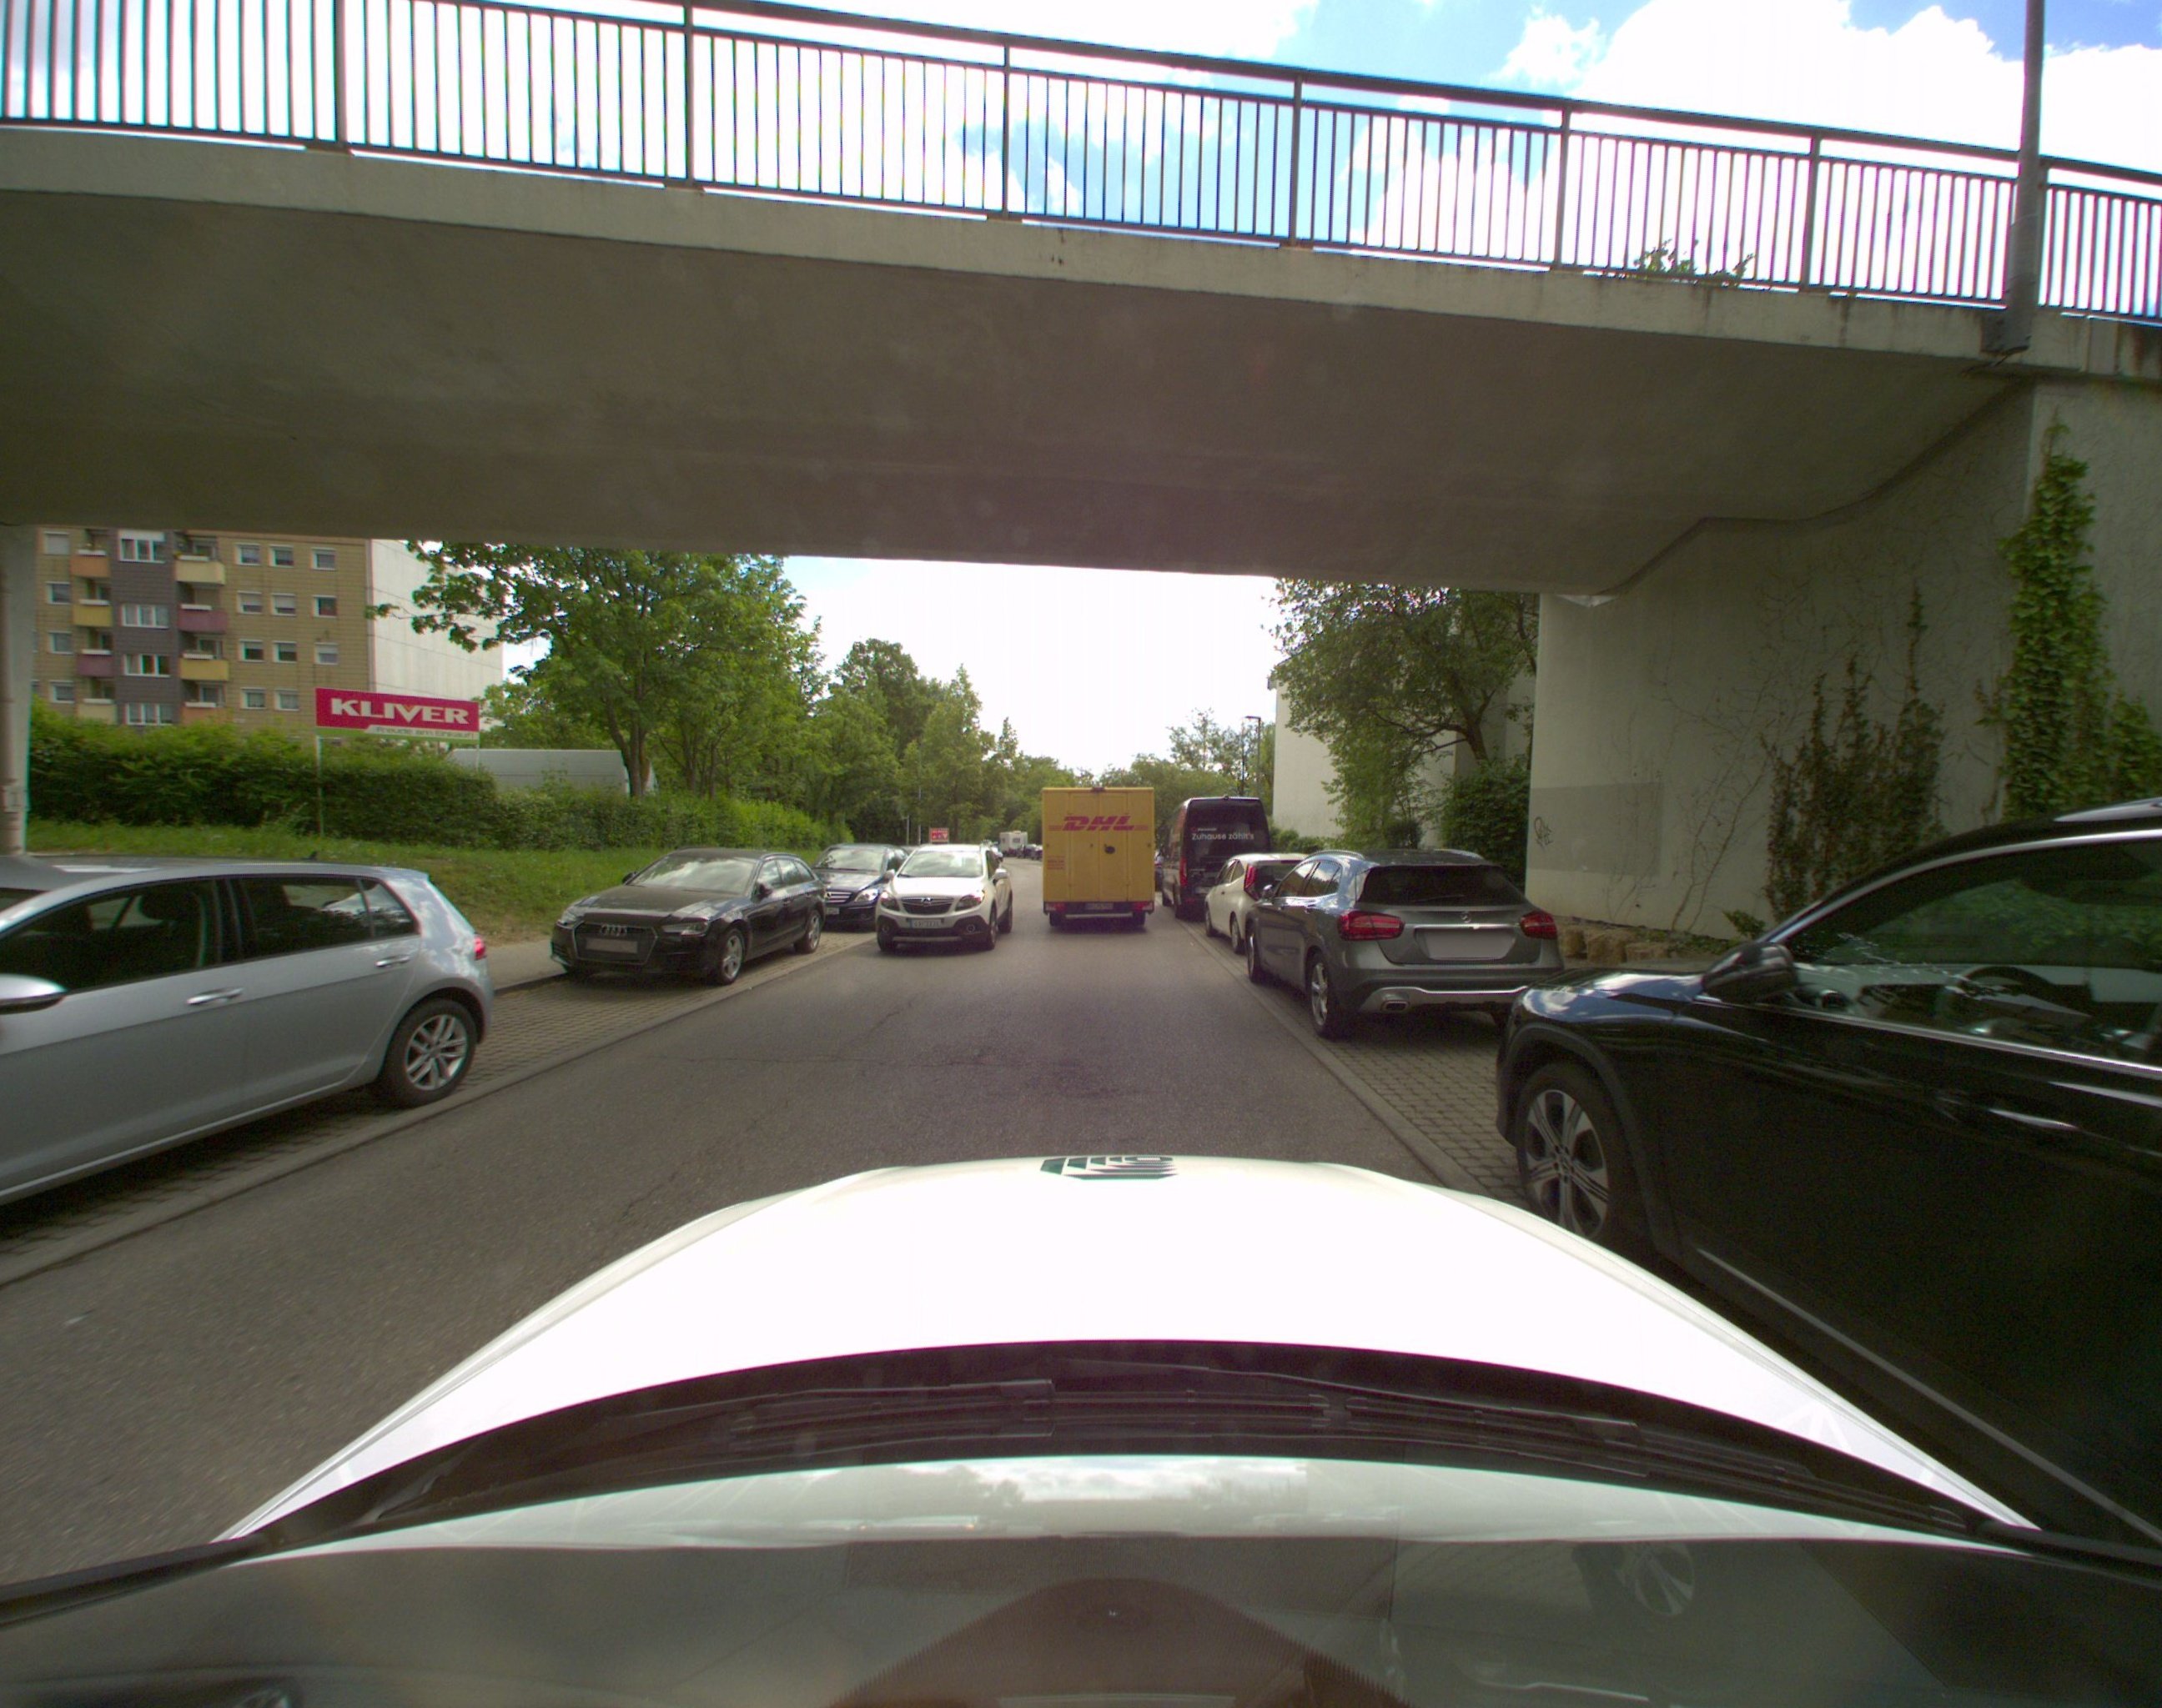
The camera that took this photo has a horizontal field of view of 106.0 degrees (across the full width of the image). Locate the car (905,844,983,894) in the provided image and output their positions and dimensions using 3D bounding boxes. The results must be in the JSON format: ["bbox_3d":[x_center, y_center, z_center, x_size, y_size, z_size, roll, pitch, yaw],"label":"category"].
[{"bbox_3d":[-4.260,0.412,25.838,1.668,1.436,3.971,2,1,1],"label":"car"}]

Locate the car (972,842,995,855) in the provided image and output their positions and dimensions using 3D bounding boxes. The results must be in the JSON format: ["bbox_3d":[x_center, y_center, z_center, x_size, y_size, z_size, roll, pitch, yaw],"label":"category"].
[{"bbox_3d":[-12.949,-0.761,107.659,1.852,1.529,3.969,1,2,-24],"label":"car"}]

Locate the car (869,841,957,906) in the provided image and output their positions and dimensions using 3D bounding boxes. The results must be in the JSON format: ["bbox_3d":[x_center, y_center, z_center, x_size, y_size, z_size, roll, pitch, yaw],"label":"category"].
[{"bbox_3d":[-4.206,0.447,20.716,1.522,1.506,2.715,2,1,2],"label":"car"}]

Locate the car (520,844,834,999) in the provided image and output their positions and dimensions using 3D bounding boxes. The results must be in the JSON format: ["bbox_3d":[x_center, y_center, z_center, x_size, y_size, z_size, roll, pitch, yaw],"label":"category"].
[{"bbox_3d":[-4.707,0.659,10.370,1.880,1.509,4.449,1,1,-2],"label":"car"}]

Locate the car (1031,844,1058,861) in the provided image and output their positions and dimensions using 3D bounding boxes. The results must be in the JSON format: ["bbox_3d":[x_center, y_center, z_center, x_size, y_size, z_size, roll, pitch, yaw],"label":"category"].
[{"bbox_3d":[-3.644,-0.143,81.239,1.847,1.529,3.980,1,2,-16],"label":"car"}]

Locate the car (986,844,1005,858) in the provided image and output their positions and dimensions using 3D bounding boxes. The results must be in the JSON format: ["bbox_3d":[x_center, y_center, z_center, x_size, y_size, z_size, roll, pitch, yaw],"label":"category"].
[{"bbox_3d":[-8.295,-0.308,79.363,1.671,1.355,3.964,1,1,-4],"label":"car"}]

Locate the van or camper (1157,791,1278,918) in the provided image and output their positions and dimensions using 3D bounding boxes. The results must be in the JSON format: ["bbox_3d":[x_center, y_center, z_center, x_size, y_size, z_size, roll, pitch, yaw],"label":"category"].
[{"bbox_3d":[3.017,0.009,19.199,1.986,2.523,5.472,-1,0,1],"label":"van or camper"}]

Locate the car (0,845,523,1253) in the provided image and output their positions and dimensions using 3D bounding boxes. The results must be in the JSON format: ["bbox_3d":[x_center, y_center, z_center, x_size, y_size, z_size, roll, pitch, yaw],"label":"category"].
[{"bbox_3d":[-4.783,0.694,3.492,1.877,1.427,4.002,2,0,2],"label":"car"}]

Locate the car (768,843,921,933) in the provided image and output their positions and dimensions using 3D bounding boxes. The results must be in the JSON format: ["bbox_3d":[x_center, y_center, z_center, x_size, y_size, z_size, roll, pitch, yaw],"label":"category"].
[{"bbox_3d":[-4.555,0.573,16.317,1.878,1.559,3.838,-1,1,0],"label":"car"}]

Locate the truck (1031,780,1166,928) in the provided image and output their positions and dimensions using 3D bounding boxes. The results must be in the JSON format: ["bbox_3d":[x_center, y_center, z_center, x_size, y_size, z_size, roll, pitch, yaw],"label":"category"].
[{"bbox_3d":[0.326,-0.048,18.261,2.458,2.702,6.823,0,1,0],"label":"truck"}]

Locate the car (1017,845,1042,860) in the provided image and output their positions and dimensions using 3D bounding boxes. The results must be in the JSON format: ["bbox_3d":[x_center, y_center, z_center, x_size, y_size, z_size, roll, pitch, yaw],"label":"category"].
[{"bbox_3d":[-5.605,-0.193,88.422,1.847,1.529,3.980,1,2,-16],"label":"car"}]

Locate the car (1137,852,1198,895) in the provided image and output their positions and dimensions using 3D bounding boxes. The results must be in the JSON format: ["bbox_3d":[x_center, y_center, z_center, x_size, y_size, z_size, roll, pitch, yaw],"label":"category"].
[{"bbox_3d":[3.089,0.678,29.661,1.723,1.433,3.967,1,0,-1],"label":"car"}]

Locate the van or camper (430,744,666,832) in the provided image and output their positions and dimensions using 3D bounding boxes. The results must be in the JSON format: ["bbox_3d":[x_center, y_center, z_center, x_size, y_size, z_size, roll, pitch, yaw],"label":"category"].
[{"bbox_3d":[-13.965,-1.684,21.594,4.845,2.085,1.998,1,2,-4],"label":"van or camper"}]

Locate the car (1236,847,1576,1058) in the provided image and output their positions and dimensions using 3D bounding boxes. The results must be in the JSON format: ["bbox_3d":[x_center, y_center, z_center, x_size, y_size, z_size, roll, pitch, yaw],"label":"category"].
[{"bbox_3d":[2.698,0.681,7.841,1.693,1.496,4.119,0,0,1],"label":"car"}]

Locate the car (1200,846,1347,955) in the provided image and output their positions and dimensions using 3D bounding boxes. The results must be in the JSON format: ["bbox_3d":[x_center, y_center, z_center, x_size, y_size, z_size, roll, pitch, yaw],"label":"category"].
[{"bbox_3d":[2.934,0.636,13.057,1.558,1.496,3.330,0,1,-1],"label":"car"}]

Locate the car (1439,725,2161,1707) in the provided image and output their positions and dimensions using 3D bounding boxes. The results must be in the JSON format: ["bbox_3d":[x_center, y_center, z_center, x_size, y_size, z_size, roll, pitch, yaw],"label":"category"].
[{"bbox_3d":[2.588,0.625,1.647,1.808,1.678,4.370,0,1,0],"label":"car"}]

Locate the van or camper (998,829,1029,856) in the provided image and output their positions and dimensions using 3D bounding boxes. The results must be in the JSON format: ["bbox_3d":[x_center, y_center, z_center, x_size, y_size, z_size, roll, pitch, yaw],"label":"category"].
[{"bbox_3d":[-7.908,-1.426,95.166,2.331,2.871,5.227,1,3,-20],"label":"van or camper"}]

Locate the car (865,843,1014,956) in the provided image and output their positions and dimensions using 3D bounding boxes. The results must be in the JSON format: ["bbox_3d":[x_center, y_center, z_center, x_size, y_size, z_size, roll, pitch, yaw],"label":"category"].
[{"bbox_3d":[-2.199,0.626,13.745,1.741,1.611,4.053,0,1,1],"label":"car"}]
